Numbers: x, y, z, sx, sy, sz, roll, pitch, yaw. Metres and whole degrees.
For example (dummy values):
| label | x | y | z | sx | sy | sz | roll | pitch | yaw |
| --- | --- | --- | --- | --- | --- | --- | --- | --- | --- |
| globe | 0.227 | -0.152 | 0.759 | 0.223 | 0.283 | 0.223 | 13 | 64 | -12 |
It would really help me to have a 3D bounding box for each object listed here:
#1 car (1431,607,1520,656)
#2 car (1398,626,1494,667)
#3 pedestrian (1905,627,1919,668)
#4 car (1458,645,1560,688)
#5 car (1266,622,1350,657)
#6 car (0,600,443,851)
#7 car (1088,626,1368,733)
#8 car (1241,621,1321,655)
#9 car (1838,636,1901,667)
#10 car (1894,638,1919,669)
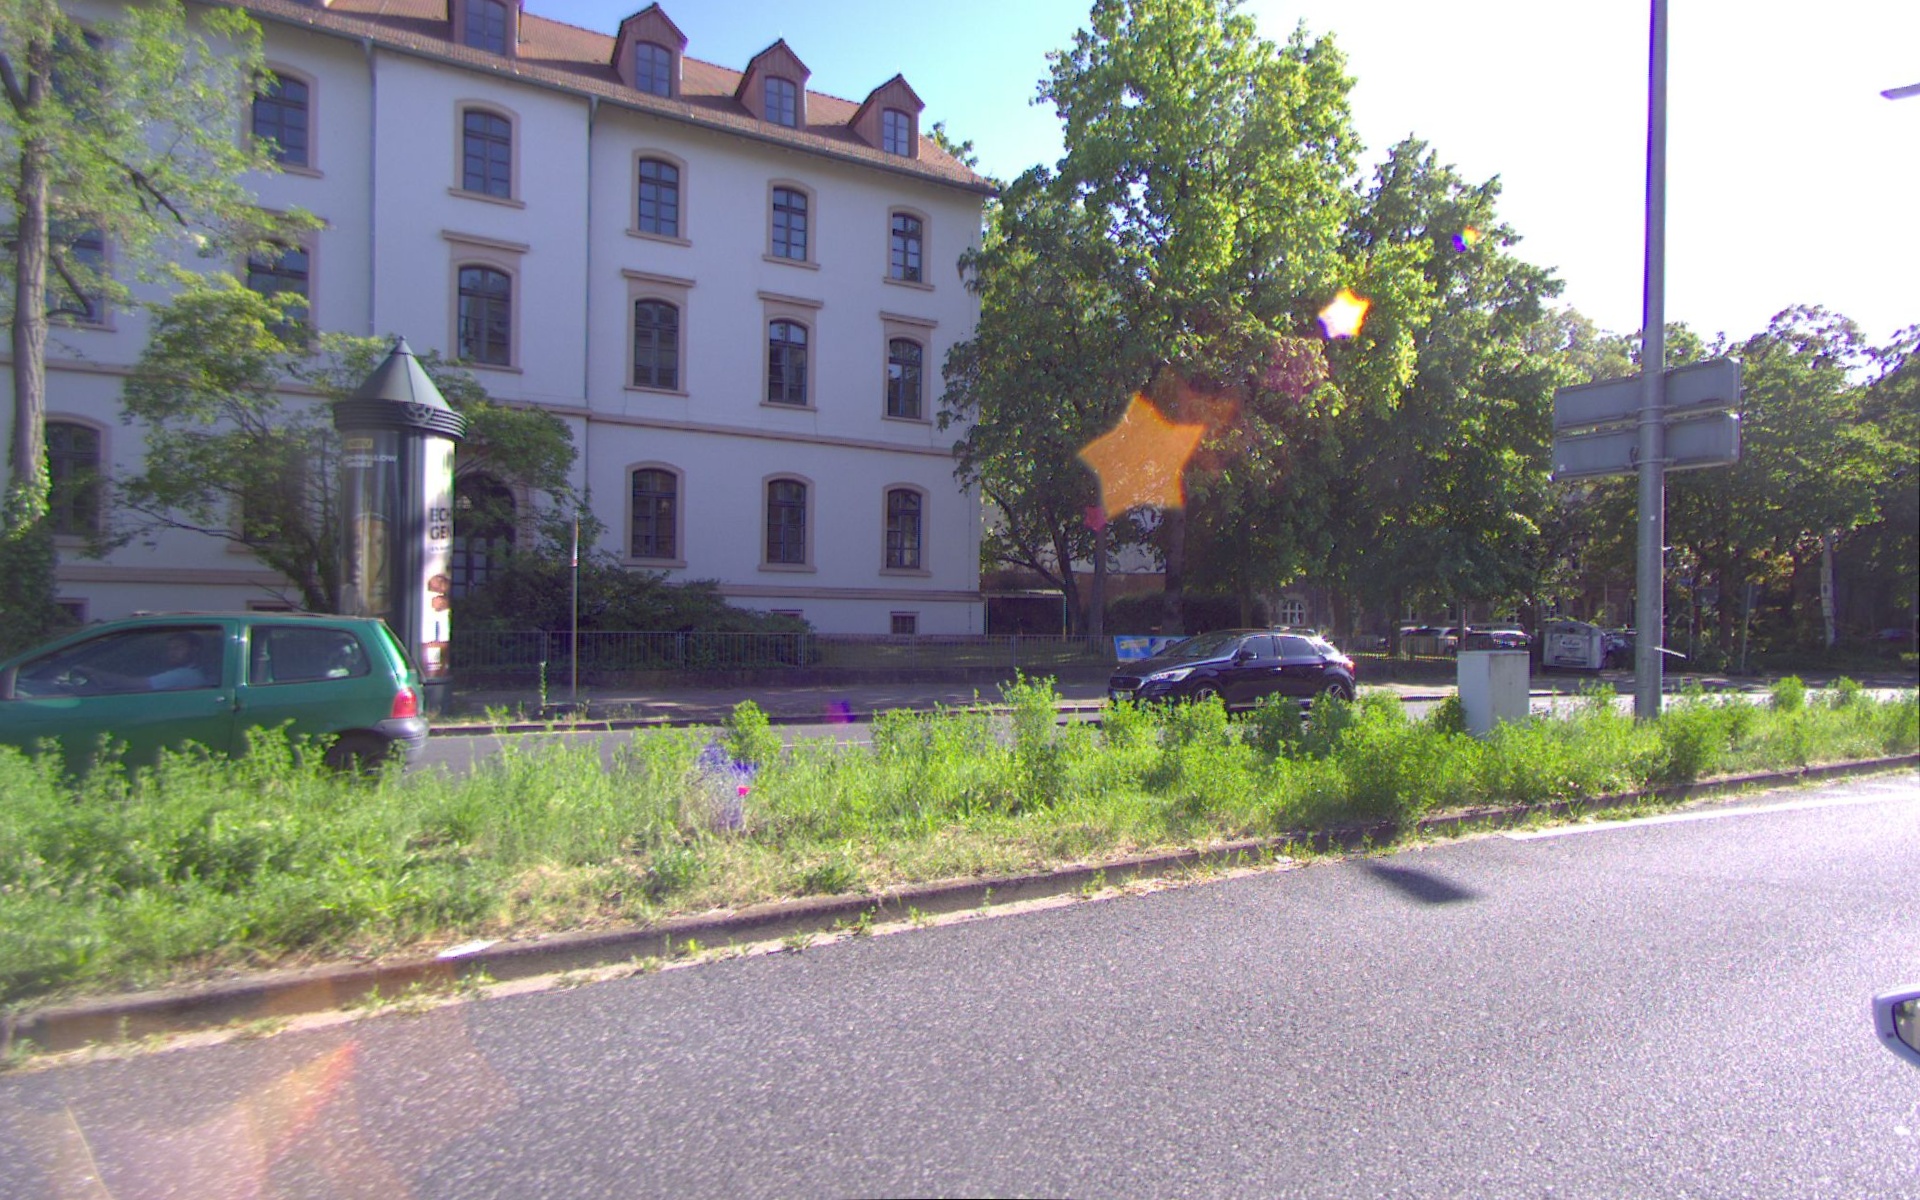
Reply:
| label | x | y | z | sx | sy | sz | roll | pitch | yaw |
| --- | --- | --- | --- | --- | --- | --- | --- | --- | --- |
| car | 28.423 | 1.744 | 55.330 | 4.926 | 2.354 | 1.838 | 5 | -2 | -29 |
| car | 21.544 | 2.057 | 44.506 | 3.952 | 1.510 | 1.838 | 5 | -2 | -29 |
| pedestrian | 39.468 | 1.939 | 41.256 | 0.701 | 1.648 | 0.671 | 1 | -1 | 5 |
| car | 22.791 | 2.776 | 41.678 | 3.952 | 1.510 | 1.838 | 5 | -2 | -29 |
| car | 17.862 | 2.017 | 51.514 | 3.952 | 1.510 | 1.838 | 5 | -2 | -29 |
| car | -6.027 | 0.789 | 7.022 | 4.209 | 1.539 | 1.630 | 1 | -1 | -31 |
| car | 4.447 | 1.258 | 16.617 | 4.364 | 1.539 | 1.790 | 2 | 0 | -26 |
| car | 17.063 | 2.019 | 53.371 | 3.952 | 1.510 | 1.838 | 5 | -2 | -29 |
| car | 53.687 | 3.003 | 59.356 | 1.946 | 1.684 | 3.993 | 0 | -1 | 30 |
| car | 55.694 | 3.076 | 57.870 | 1.947 | 1.684 | 3.991 | 0 | -1 | 31 |
